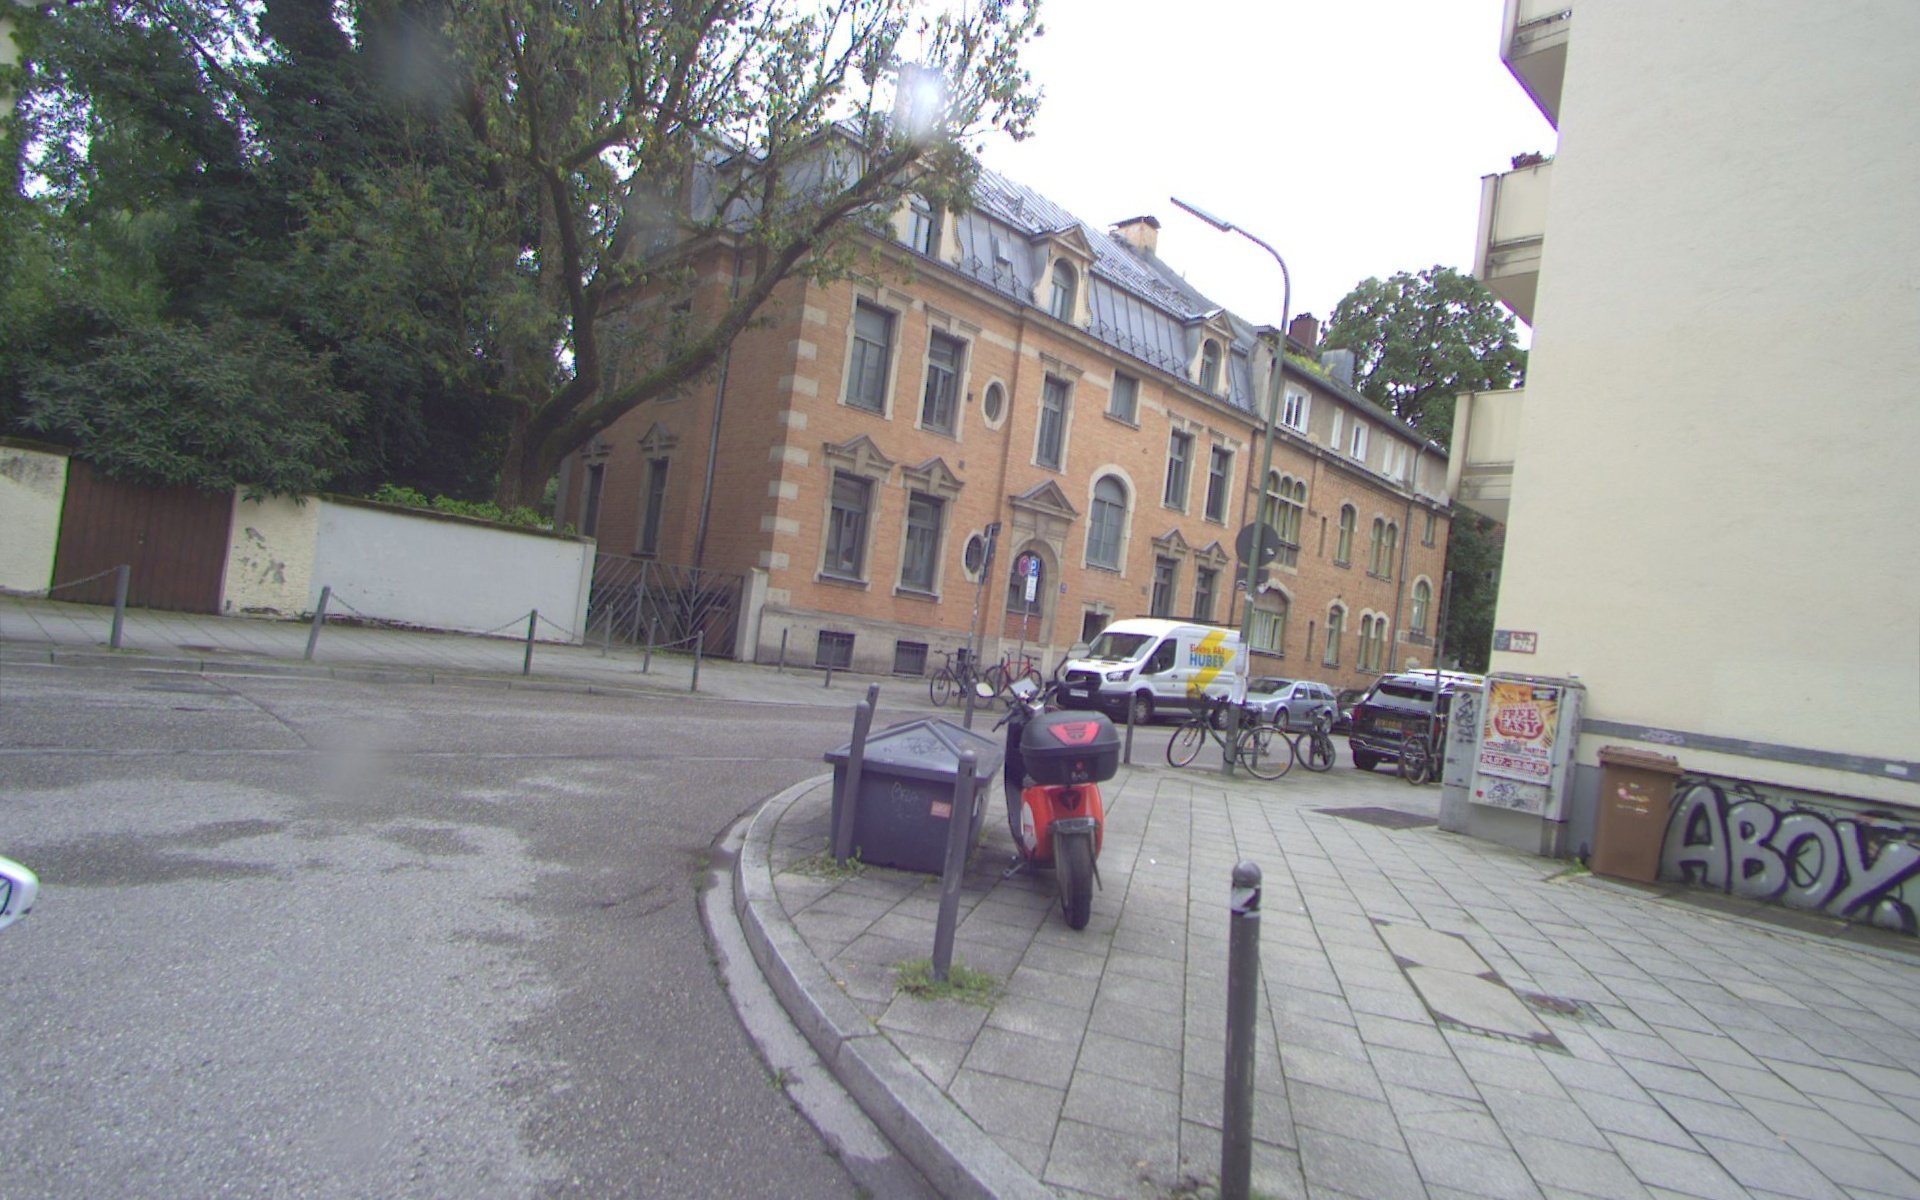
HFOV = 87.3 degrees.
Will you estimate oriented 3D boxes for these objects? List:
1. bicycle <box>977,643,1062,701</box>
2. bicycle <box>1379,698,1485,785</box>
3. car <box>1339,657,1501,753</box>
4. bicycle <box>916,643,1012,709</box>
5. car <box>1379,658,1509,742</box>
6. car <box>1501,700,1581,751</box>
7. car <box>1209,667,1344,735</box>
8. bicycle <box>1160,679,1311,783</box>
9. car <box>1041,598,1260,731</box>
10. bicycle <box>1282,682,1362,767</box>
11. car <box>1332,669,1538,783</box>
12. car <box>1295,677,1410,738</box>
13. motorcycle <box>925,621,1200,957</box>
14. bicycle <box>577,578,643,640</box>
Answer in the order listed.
[{"bbox_3d":[1.357,1.632,22.677,1.881,1.066,0.575,9,-1,-39],"label":"bicycle"},{"bbox_3d":[7.216,2.173,15.329,1.949,1.167,0.575,9,-2,-39],"label":"bicycle"},{"bbox_3d":[12.385,2.856,26.932,4.927,2.065,2.022,9,-2,-42],"label":"car"},{"bbox_3d":[0.095,1.461,19.154,1.750,1.066,0.575,9,-2,-39],"label":"bicycle"},{"bbox_3d":[17.128,3.578,35.472,5.338,2.376,2.119,10,-3,-42],"label":"car"},{"bbox_3d":[24.639,5.320,42.599,1.803,1.730,3.980,7,-2,45],"label":"car"},{"bbox_3d":[8.692,2.784,27.467,3.973,1.470,1.675,9,-4,-43],"label":"car"},{"bbox_3d":[3.676,1.722,13.416,1.731,1.078,0.776,7,-2,26],"label":"bicycle"},{"bbox_3d":[4.564,1.570,23.424,5.439,2.495,1.976,10,-4,-43],"label":"car"},{"bbox_3d":[5.625,1.925,15.560,0.572,1.167,1.959,6,-2,35],"label":"bicycle"},{"bbox_3d":[8.926,2.389,18.718,4.524,1.657,1.833,10,-3,-43],"label":"car"},{"bbox_3d":[12.142,3.338,30.999,3.806,1.447,1.684,10,-3,-42],"label":"car"},{"bbox_3d":[0.425,0.862,5.444,0.803,1.372,2.082,8,-1,-9],"label":"motorcycle"},{"bbox_3d":[-8.097,0.186,23.222,0.532,1.233,2.058,8,-2,-42],"label":"bicycle"}]
